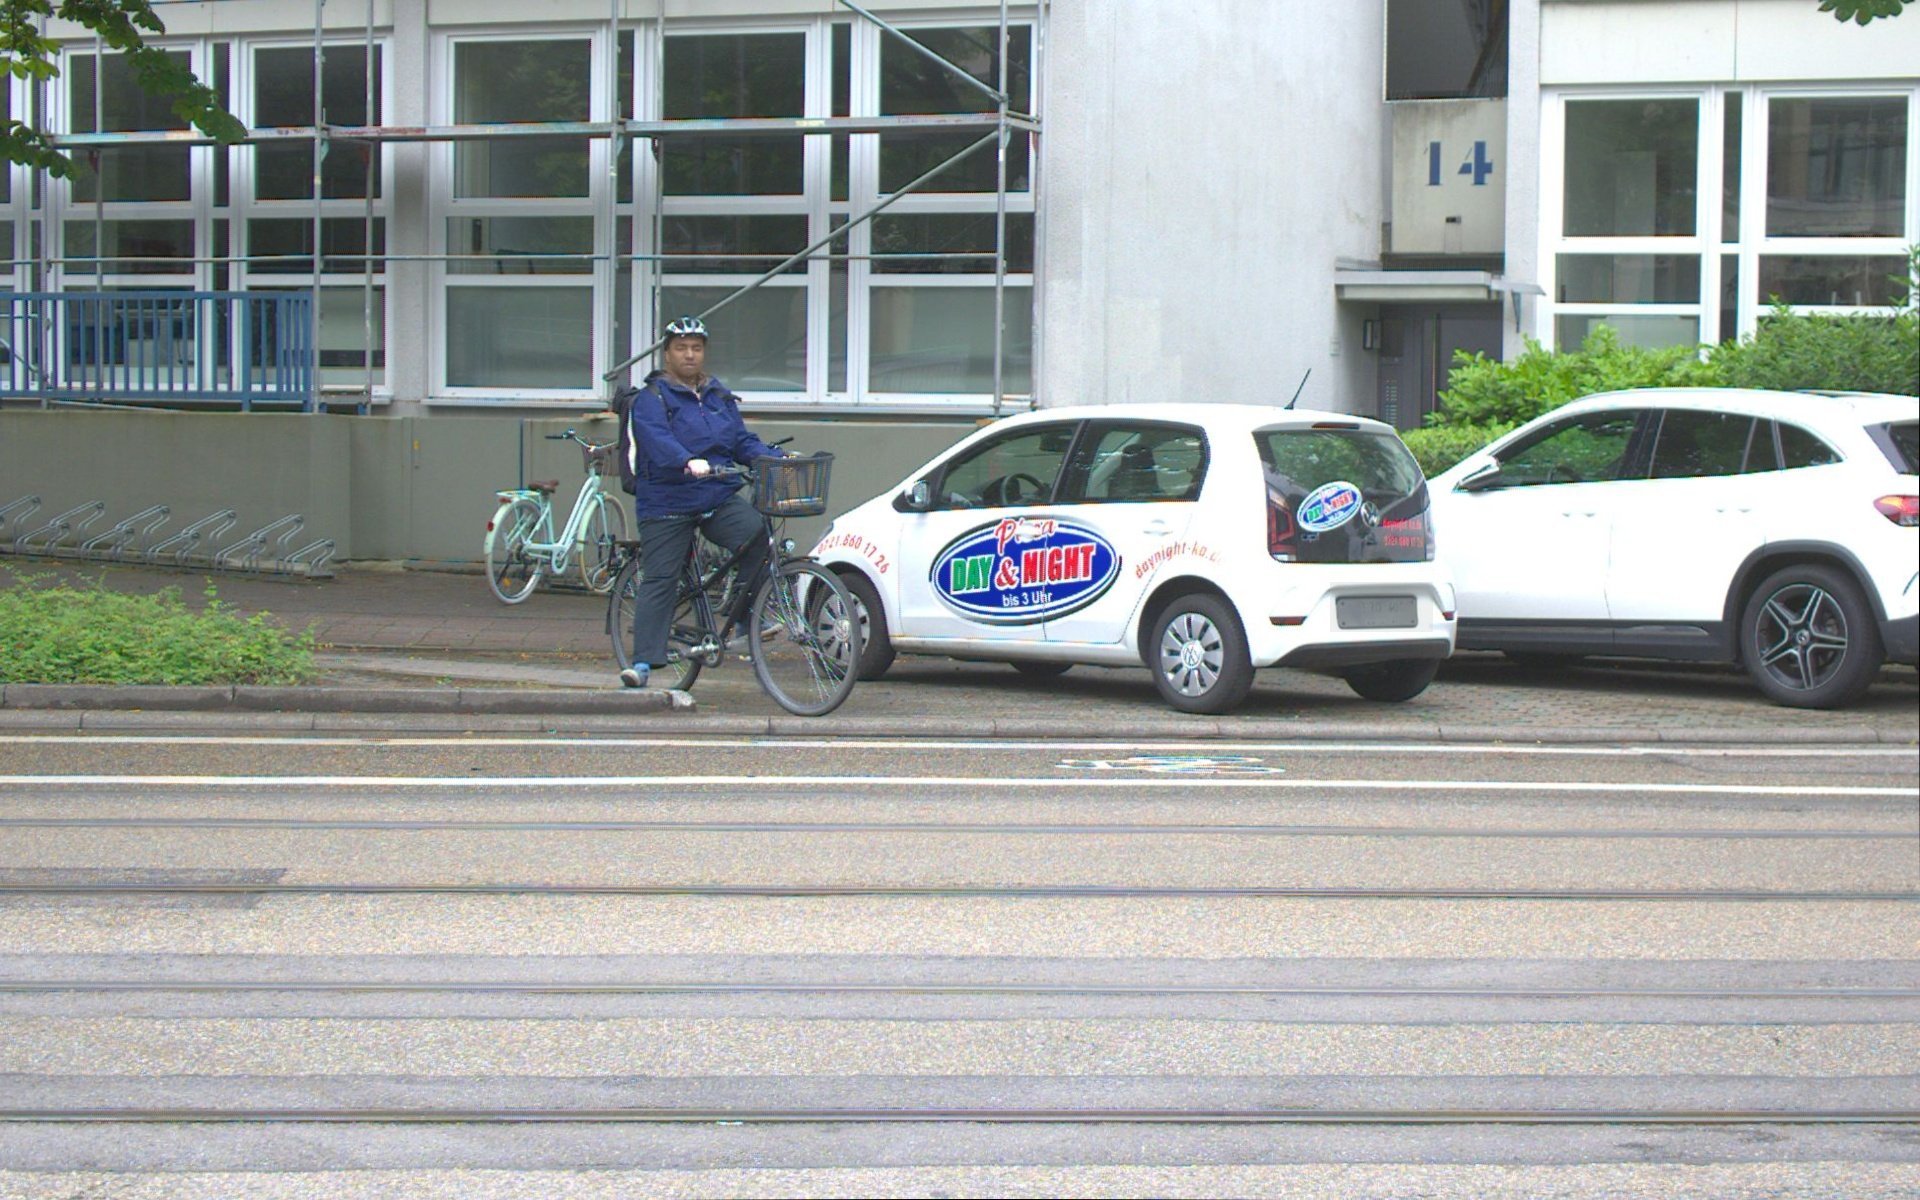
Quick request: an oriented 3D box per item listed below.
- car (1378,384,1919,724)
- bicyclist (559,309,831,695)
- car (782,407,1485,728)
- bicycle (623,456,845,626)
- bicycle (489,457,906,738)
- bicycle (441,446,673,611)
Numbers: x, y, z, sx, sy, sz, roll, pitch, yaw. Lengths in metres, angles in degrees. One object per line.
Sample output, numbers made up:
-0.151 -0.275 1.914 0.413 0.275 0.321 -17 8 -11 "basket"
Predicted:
4.016 -0.295 17.945 1.552 1.612 3.406 -2 4 -45 "car"
-1.210 -0.457 15.678 0.896 1.692 0.832 4 4 44 "bicyclist"
0.811 -0.235 17.466 1.552 1.468 3.406 -2 4 -45 "car"
-1.501 -0.428 23.321 0.645 1.071 2.310 2 3 19 "bicycle"
-1.221 -0.046 15.691 1.914 1.170 0.819 4 4 44 "bicycle"
-2.757 -0.524 23.794 0.645 1.071 2.310 2 3 19 "bicycle"
